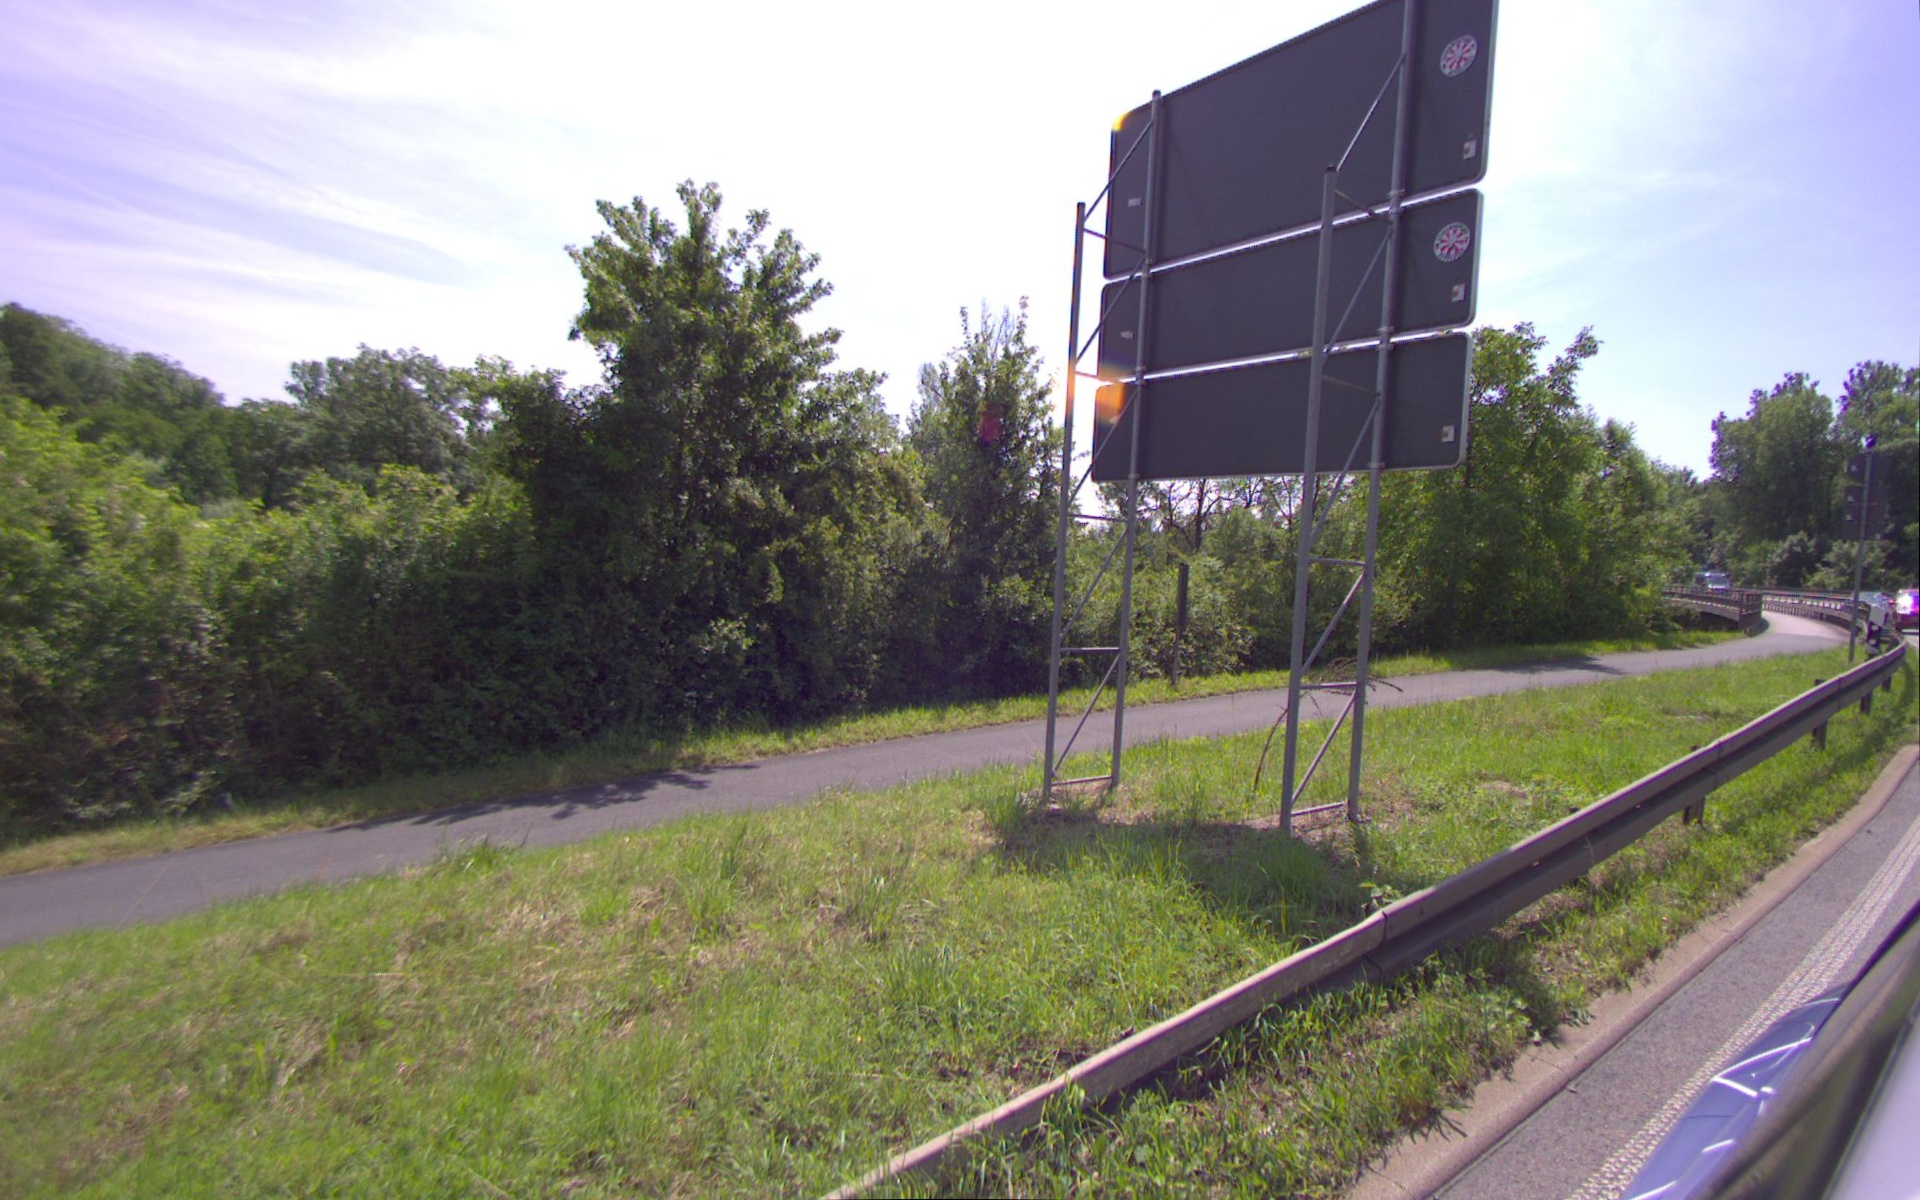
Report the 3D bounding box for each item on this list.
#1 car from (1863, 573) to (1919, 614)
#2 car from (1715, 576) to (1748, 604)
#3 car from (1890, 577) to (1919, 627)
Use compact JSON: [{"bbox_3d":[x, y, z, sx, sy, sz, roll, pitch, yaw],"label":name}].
[{"bbox_3d":[49.438,-0.349,53.524,1.986,2.039,3.952,-1,1,34],"label":"car"},{"bbox_3d":[73.199,-0.978,96.072,1.985,2.516,4.804,-1,1,32],"label":"car"},{"bbox_3d":[35.891,0.079,37.277,1.989,1.797,3.947,2,1,37],"label":"car"}]
